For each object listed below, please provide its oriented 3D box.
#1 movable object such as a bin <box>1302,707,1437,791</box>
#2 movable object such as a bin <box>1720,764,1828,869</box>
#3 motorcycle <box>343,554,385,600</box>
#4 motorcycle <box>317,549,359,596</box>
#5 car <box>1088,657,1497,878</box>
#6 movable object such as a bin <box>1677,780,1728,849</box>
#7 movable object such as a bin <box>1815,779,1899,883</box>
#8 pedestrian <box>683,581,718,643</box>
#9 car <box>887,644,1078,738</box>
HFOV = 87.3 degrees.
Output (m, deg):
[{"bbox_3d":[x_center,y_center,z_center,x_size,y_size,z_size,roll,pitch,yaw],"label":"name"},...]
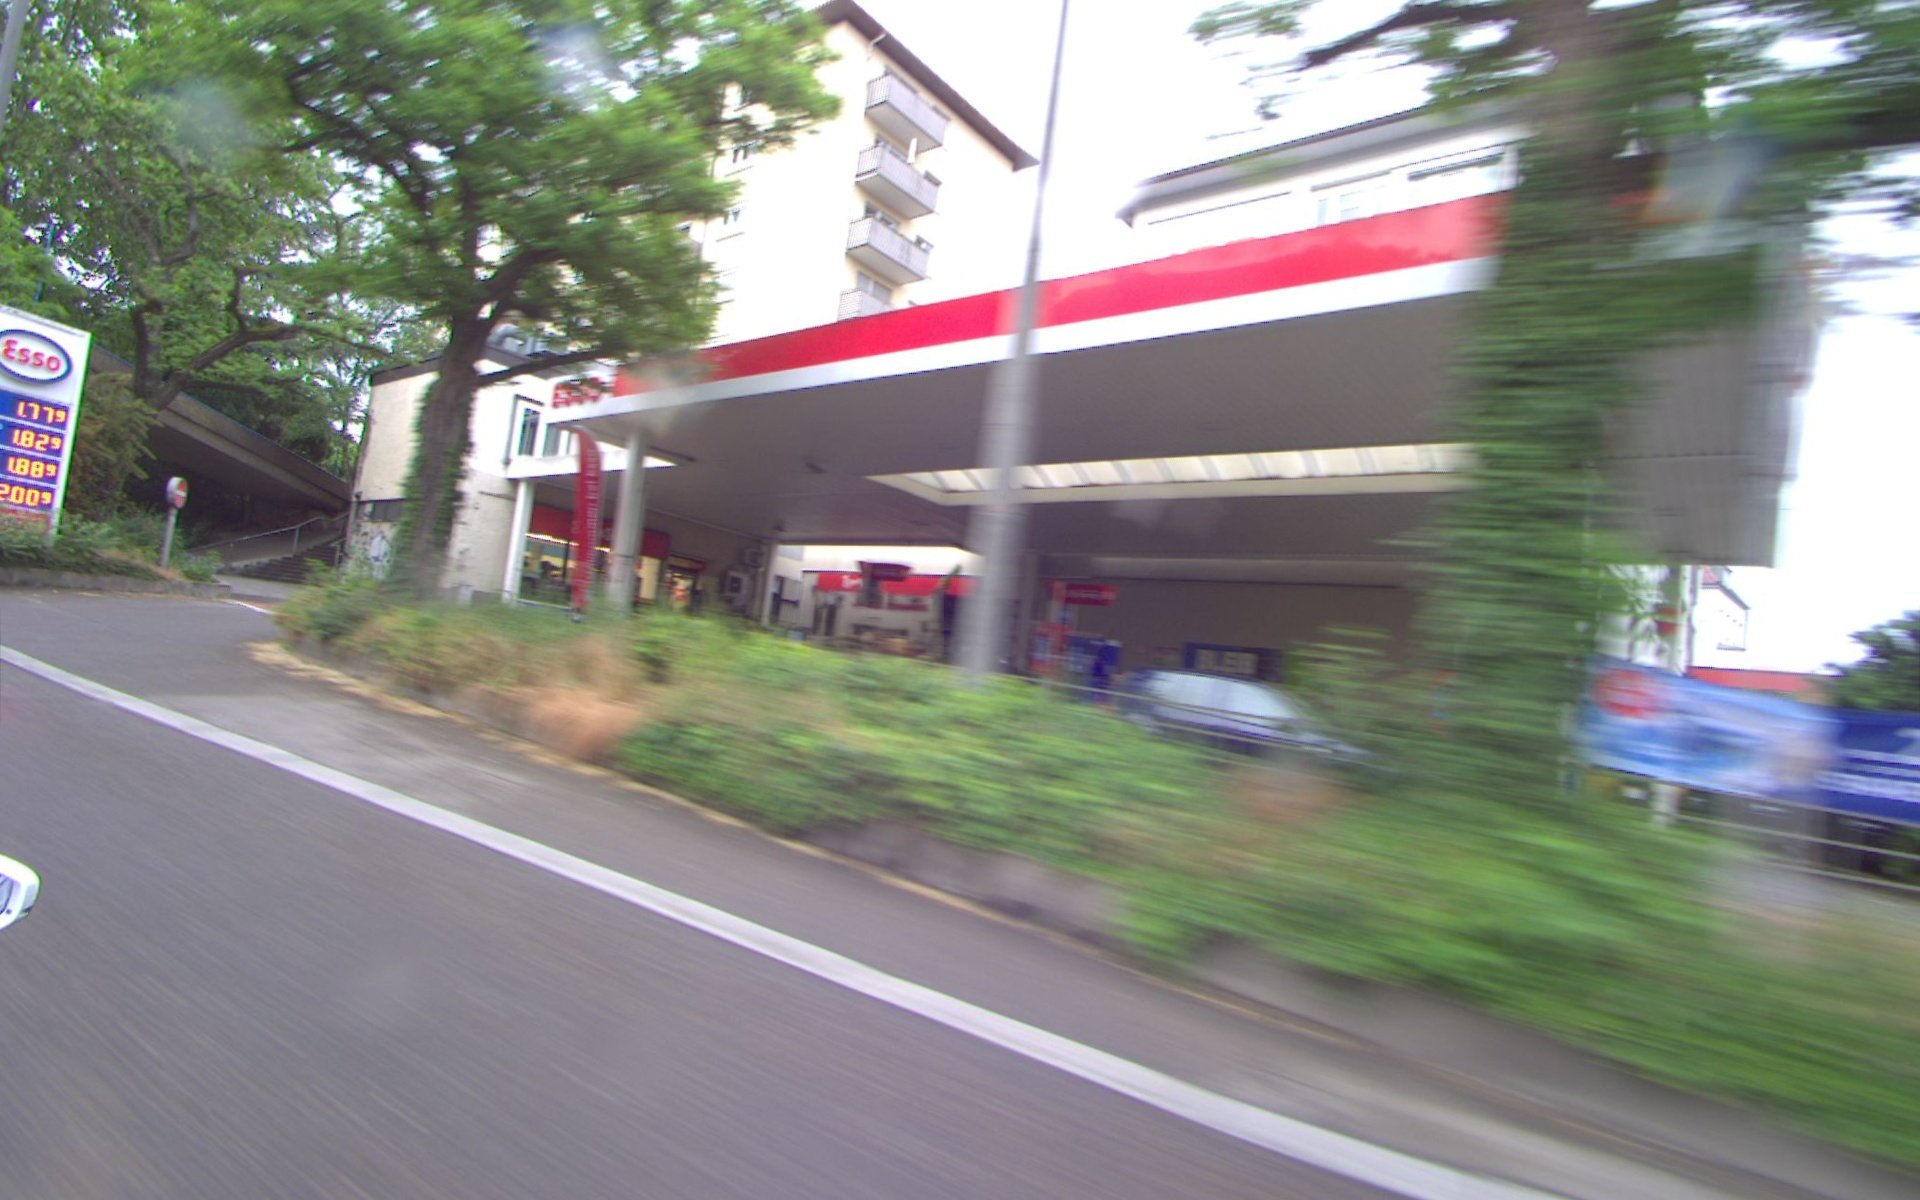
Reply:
[{"bbox_3d":[9.332,3.387,22.980,2.471,1.441,1.163,7,-4,39],"label":"movable object such as a bin"},{"bbox_3d":[14.710,3.893,18.218,1.340,1.582,0.765,7,-3,39],"label":"movable object such as a bin"},{"bbox_3d":[-17.964,-0.701,30.312,1.741,1.205,0.532,8,-1,45],"label":"motorcycle"},{"bbox_3d":[-18.497,-0.839,29.886,1.741,1.205,0.532,8,-1,45],"label":"motorcycle"},{"bbox_3d":[3.590,1.728,11.226,3.814,1.642,1.771,5,-3,42],"label":"car"},{"bbox_3d":[14.001,4.039,18.966,0.651,1.153,0.453,7,-3,39],"label":"movable object such as a bin"},{"bbox_3d":[15.583,3.987,17.504,0.900,1.582,0.765,7,-3,39],"label":"movable object such as a bin"},{"bbox_3d":[-8.605,0.400,33.349,0.660,1.888,0.689,9,-5,1],"label":"pedestrian"},{"bbox_3d":[0.492,2.137,23.964,4.171,1.524,1.798,5,-7,40],"label":"car"}]
